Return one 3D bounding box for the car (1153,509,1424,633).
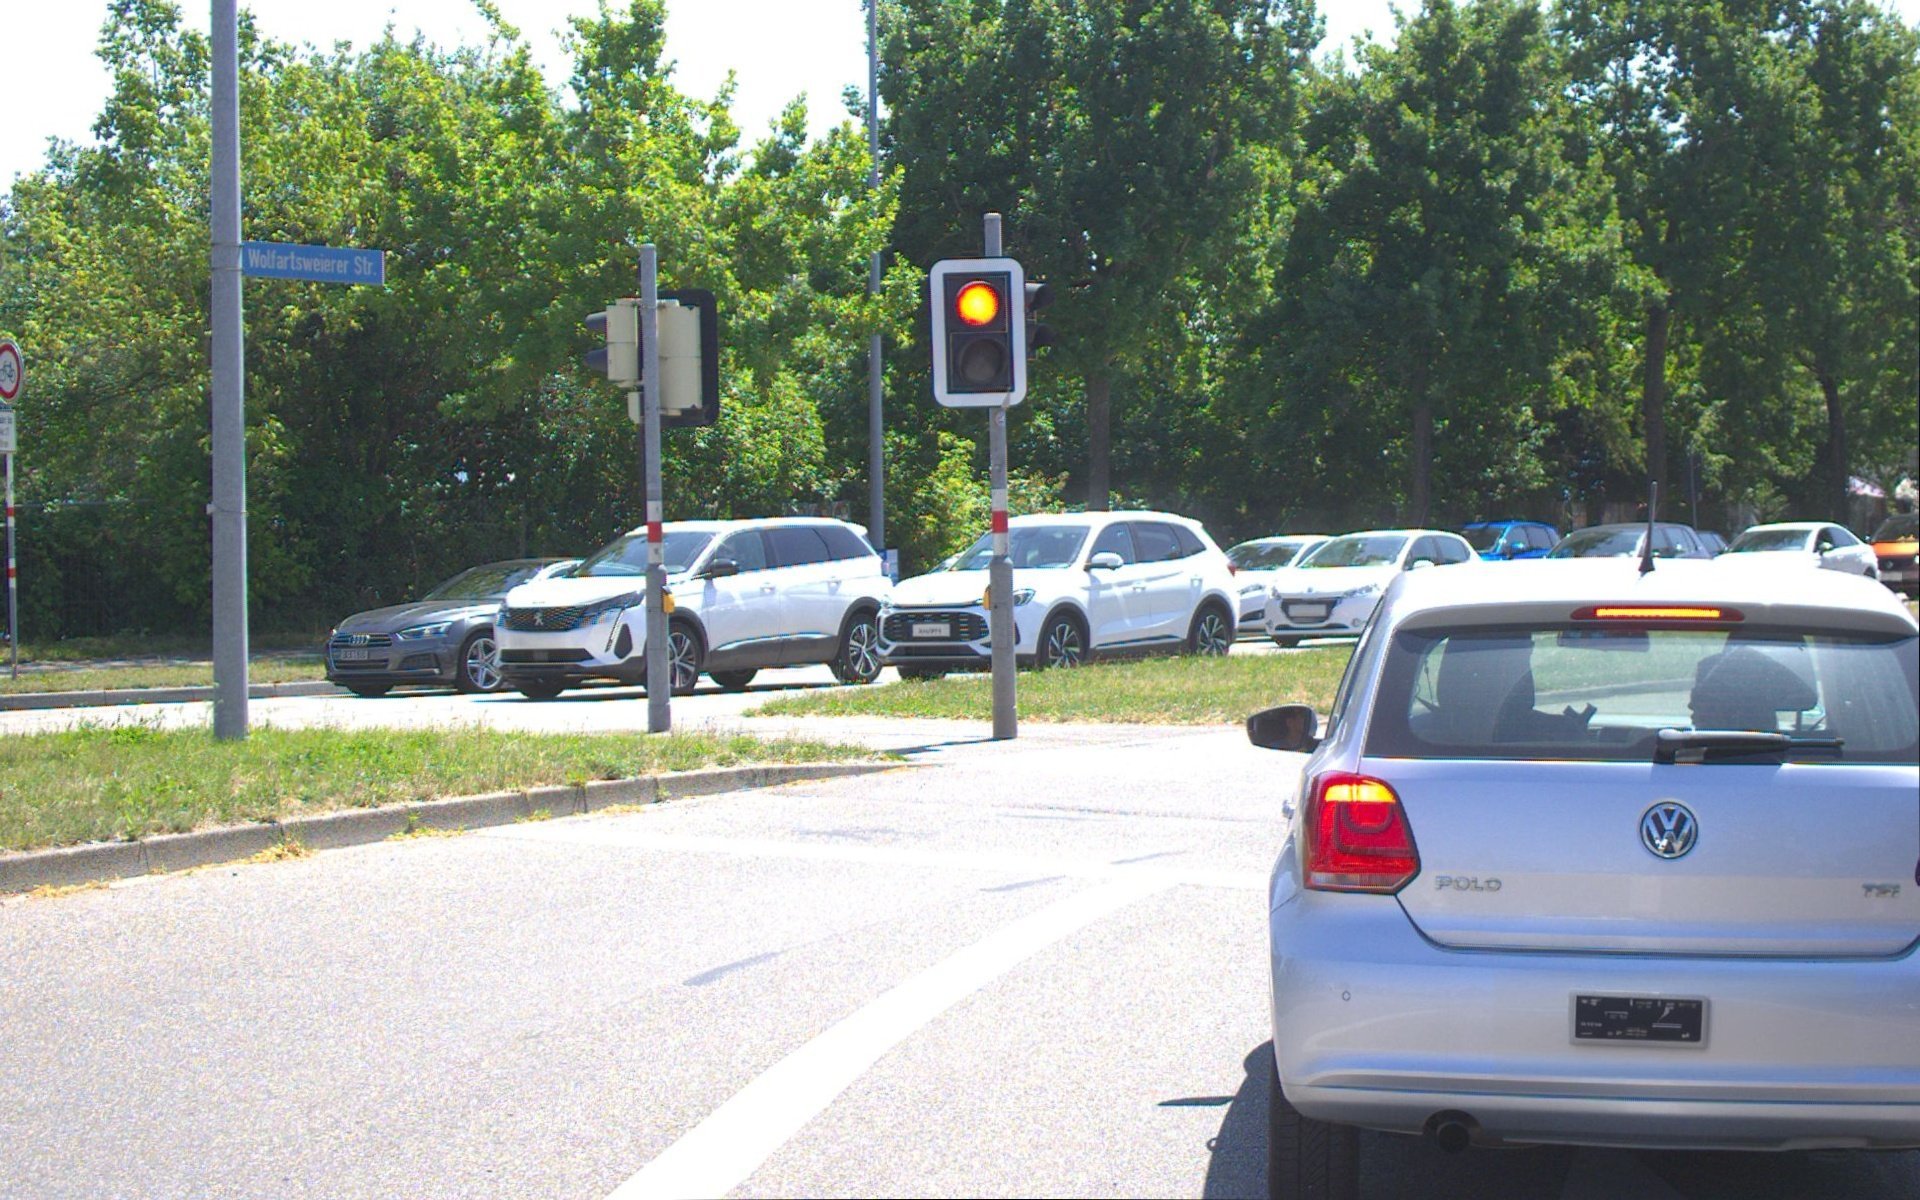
[{"bbox_3d":[4.703,-0.448,48.719,1.862,1.677,4.399,1,2,36],"label":"car"}]

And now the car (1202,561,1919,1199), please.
[{"bbox_3d":[1.547,0.650,8.710,1.776,1.417,4.000,0,2,3],"label":"car"}]

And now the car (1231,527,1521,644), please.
[{"bbox_3d":[5.467,-0.229,44.739,1.862,1.417,4.399,1,2,36],"label":"car"}]

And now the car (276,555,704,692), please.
[{"bbox_3d":[-4.779,0.195,35.549,1.862,1.266,4.399,1,2,36],"label":"car"}]

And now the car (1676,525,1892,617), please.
[{"bbox_3d":[13.393,-0.500,55.730,1.862,1.417,4.399,1,2,36],"label":"car"}]

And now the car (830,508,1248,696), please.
[{"bbox_3d":[0.839,-0.041,33.142,1.862,1.677,4.399,1,2,36],"label":"car"}]

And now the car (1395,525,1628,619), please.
[{"bbox_3d":[8.798,-0.473,54.579,1.862,1.417,4.399,1,2,36],"label":"car"}]

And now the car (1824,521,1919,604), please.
[{"bbox_3d":[17.161,-0.702,61.360,1.862,1.417,4.399,1,2,36],"label":"car"}]

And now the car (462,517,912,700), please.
[{"bbox_3d":[-2.524,0.019,32.808,1.862,1.612,4.399,1,2,36],"label":"car"}]

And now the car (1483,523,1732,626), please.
[{"bbox_3d":[9.462,-0.405,50.000,1.862,1.417,4.399,1,2,36],"label":"car"}]
